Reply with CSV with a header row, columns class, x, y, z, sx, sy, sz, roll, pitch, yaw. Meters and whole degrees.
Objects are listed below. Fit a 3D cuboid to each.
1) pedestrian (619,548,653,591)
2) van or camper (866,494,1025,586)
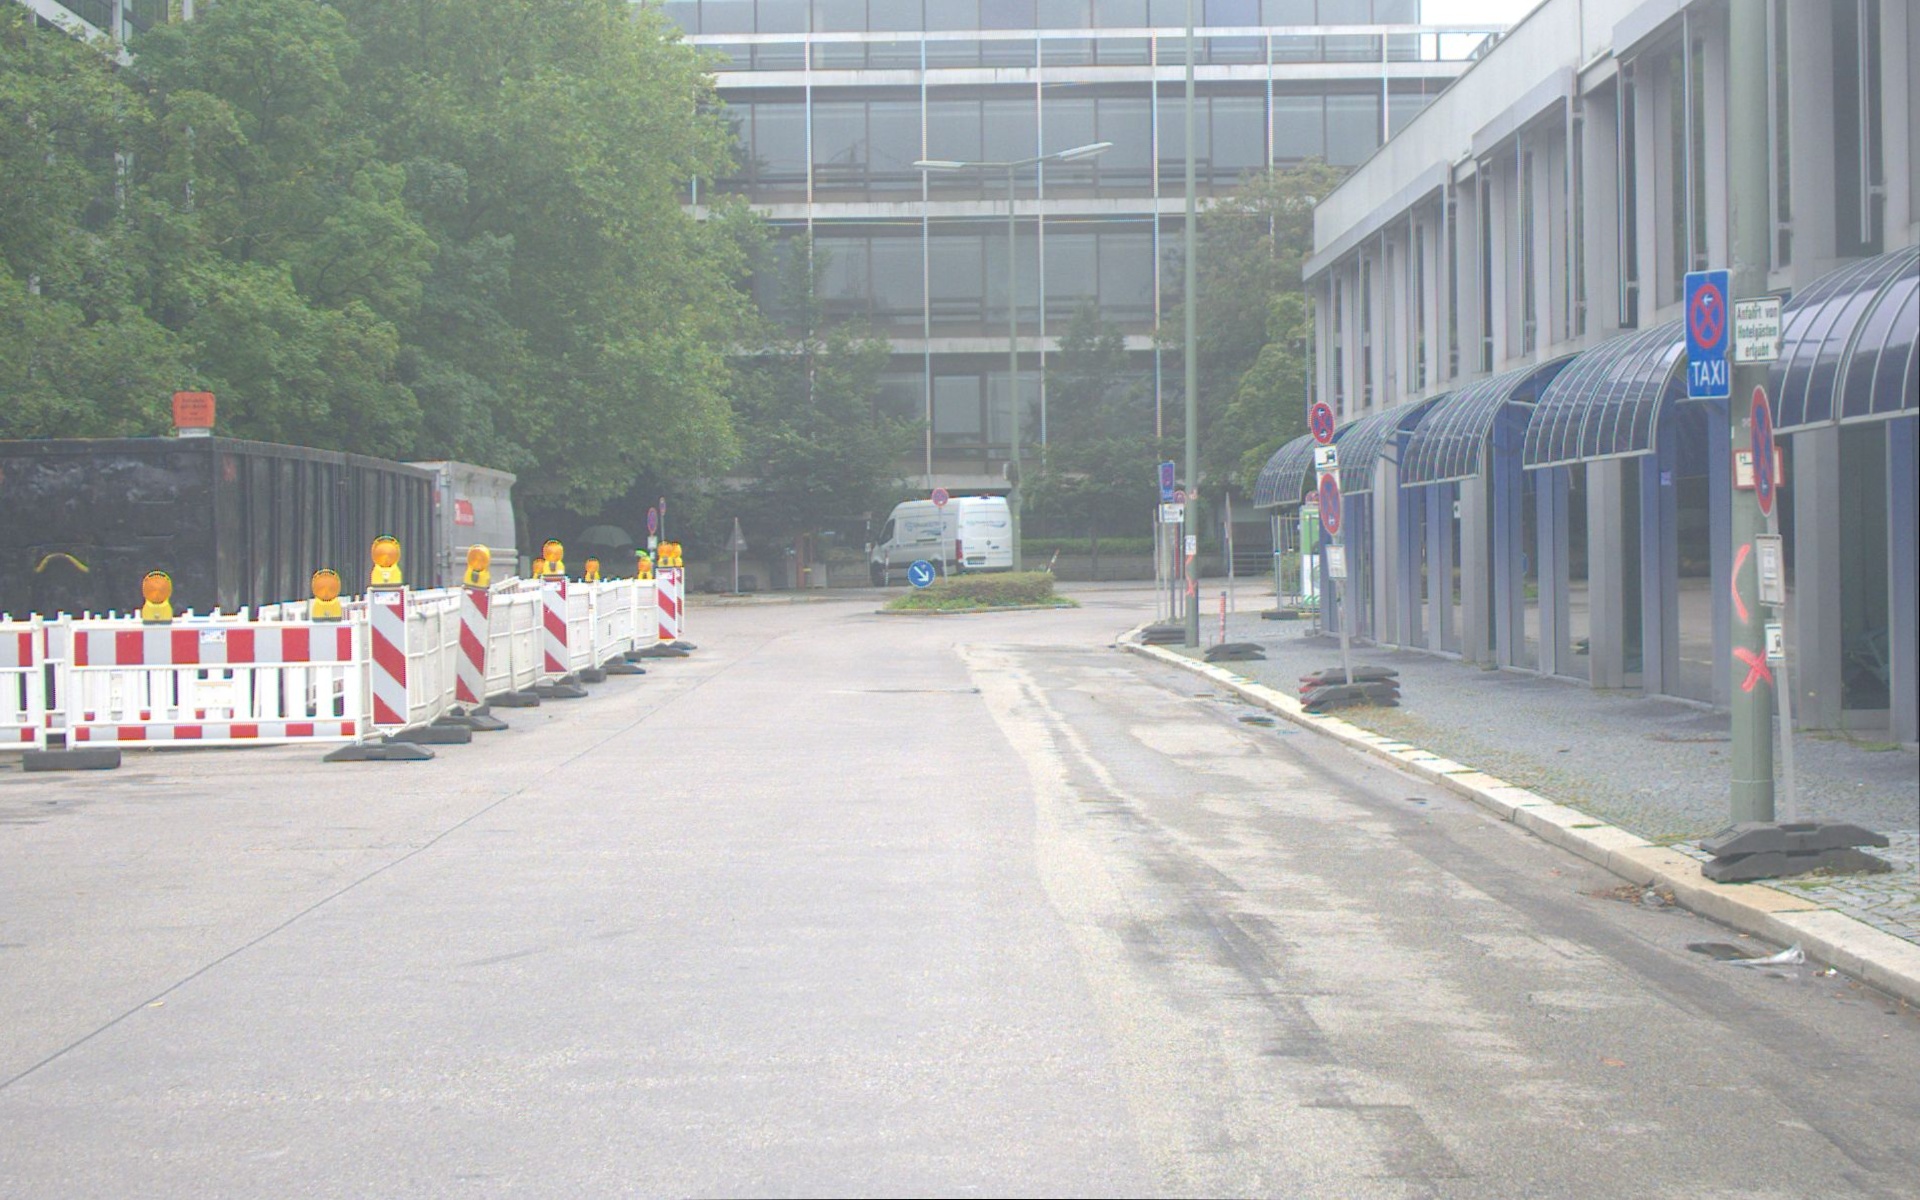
class,x,y,z,sx,sy,sz,roll,pitch,yaw
pedestrian,-9.569,-0.906,101.574,0.926,1.273,0.542,0,1,2
van or camper,-0.502,-1.771,103.723,2.155,2.572,6.540,-1,-1,-26
